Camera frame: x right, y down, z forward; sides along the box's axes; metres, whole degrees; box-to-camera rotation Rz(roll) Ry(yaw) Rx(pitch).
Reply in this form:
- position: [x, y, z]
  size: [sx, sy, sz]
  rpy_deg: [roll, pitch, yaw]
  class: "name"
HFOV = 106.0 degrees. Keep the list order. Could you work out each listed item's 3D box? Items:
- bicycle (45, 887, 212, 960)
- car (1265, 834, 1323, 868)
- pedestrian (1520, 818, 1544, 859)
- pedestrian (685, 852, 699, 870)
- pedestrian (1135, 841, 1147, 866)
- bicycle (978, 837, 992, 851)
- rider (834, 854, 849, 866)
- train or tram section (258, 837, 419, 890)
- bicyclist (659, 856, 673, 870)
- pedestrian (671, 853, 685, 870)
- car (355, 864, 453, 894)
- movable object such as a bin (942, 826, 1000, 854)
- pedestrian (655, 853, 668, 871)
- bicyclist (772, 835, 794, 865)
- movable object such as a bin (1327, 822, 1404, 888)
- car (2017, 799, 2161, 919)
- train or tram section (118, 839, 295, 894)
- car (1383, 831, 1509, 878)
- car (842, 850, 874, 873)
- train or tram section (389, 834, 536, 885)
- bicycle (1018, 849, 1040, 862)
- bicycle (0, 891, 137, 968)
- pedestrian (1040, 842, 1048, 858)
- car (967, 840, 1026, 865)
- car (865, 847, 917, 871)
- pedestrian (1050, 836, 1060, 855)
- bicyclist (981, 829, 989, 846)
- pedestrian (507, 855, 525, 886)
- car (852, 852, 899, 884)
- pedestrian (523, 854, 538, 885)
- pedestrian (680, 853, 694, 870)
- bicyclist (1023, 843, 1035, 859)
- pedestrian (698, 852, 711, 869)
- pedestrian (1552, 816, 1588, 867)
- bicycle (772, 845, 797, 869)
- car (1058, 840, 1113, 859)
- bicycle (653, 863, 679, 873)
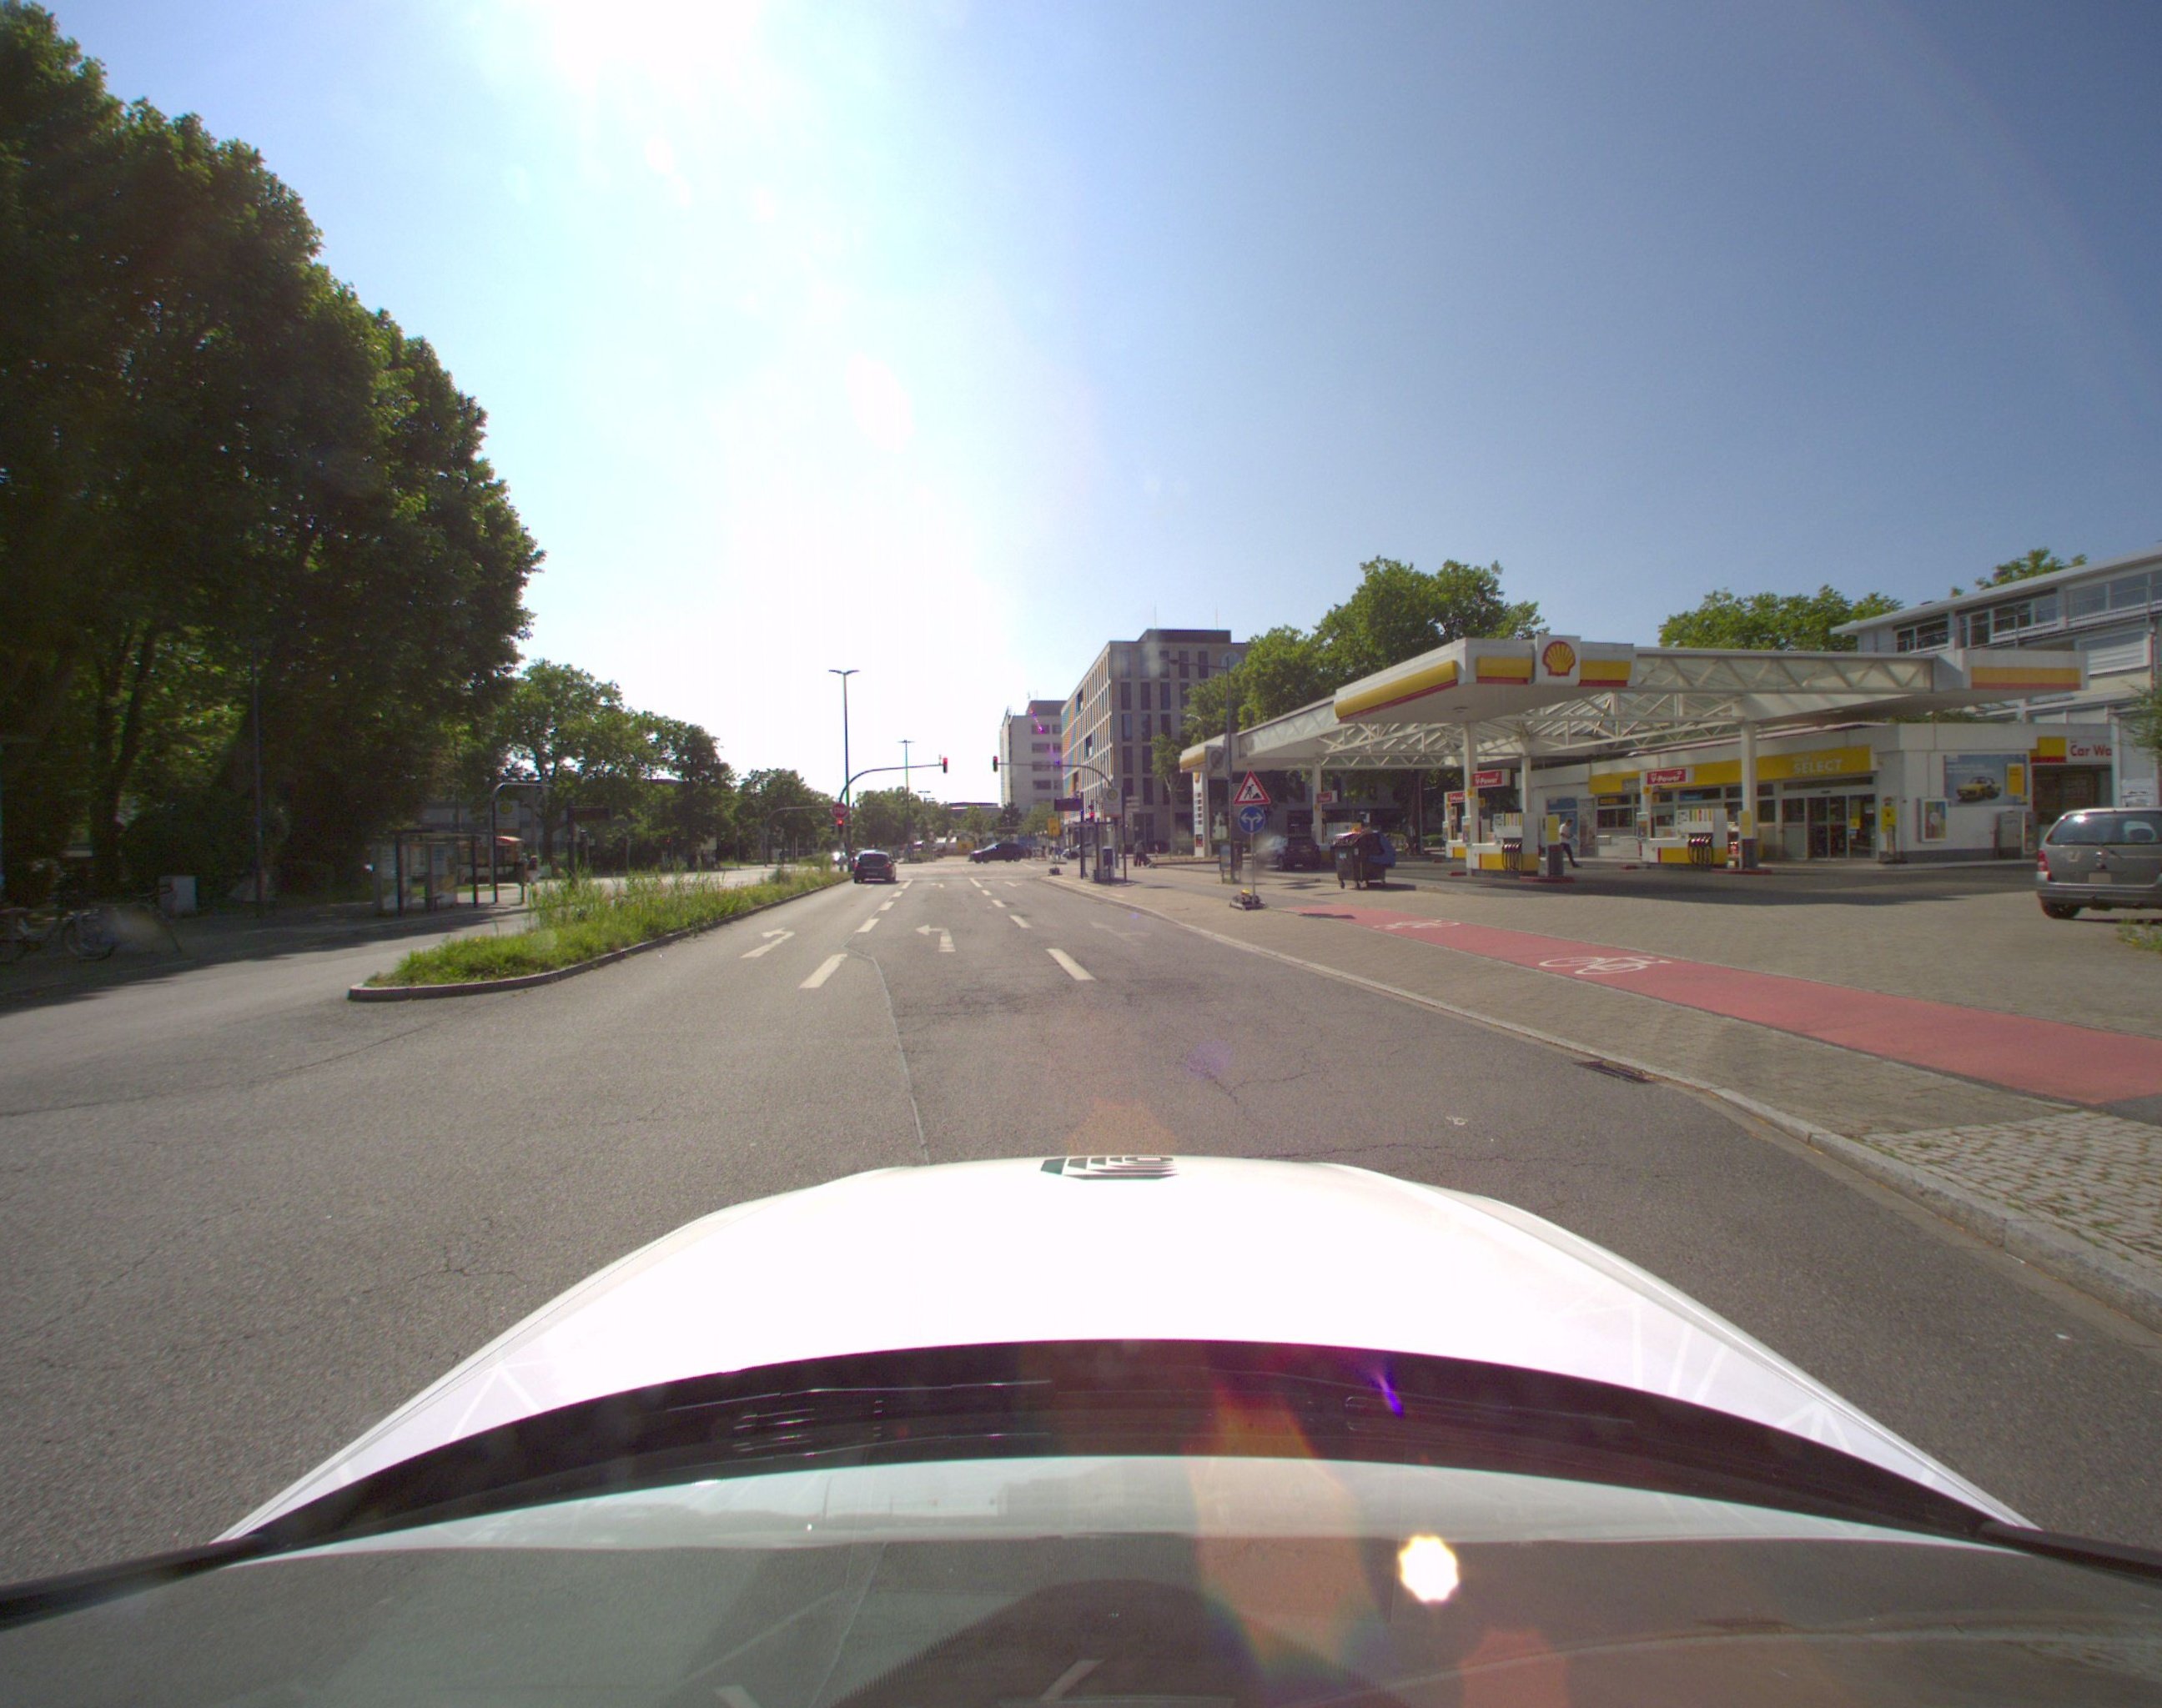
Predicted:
- position: [-16.531, 1.187, 14.171]
  size: [1.845, 1.122, 0.691]
  rpy_deg: [-1, 0, -9]
  class: "bicycle"
- position: [9.345, -0.149, 35.952]
  size: [1.644, 1.398, 3.642]
  rpy_deg: [-2, 0, 1]
  class: "car"
- position: [20.213, -0.695, 36.481]
  size: [0.671, 1.821, 0.630]
  rpy_deg: [-1, 0, -4]
  class: "pedestrian"
- position: [-36.366, 0.666, 76.154]
  size: [0.650, 1.611, 0.945]
  rpy_deg: [-1, 0, 13]
  class: "pedestrian"
- position: [3.691, -0.047, 50.413]
  size: [0.618, 1.543, 0.460]
  rpy_deg: [-1, 0, -11]
  class: "pedestrian"
- position: [-14.171, -1.471, 120.293]
  size: [2.084, 1.962, 0.826]
  rpy_deg: [-1, 0, -4]
  class: "bicycle"
- position: [-26.783, 0.662, 91.286]
  size: [1.392, 1.195, 2.686]
  rpy_deg: [-1, 1, -12]
  class: "rider"
- position: [-51.080, 0.574, 56.248]
  size: [7.560, 3.331, 3.107]
  rpy_deg: [-2, 0, -12]
  class: "train or tram section"
- position: [-38.043, 0.801, 74.639]
  size: [1.055, 1.274, 0.489]
  rpy_deg: [-2, 0, -18]
  class: "bicyclist"
- position: [-37.937, 0.705, 76.635]
  size: [0.650, 1.611, 0.945]
  rpy_deg: [-1, 0, 13]
  class: "pedestrian"
- position: [-34.957, 1.263, 42.130]
  size: [3.502, 1.377, 1.631]
  rpy_deg: [-2, 1, -13]
  class: "car"
- position: [-18.928, -2.419, 140.631]
  size: [9.671, 4.549, 3.155]
  rpy_deg: [-1, 1, -9]
  class: "movable object such as a bin"
- position: [-39.127, 0.744, 75.962]
  size: [0.650, 1.611, 0.945]
  rpy_deg: [-1, 0, 13]
  class: "pedestrian"
- position: [-30.159, -0.426, 82.522]
  size: [1.600, 2.931, 2.345]
  rpy_deg: [-2, 0, -10]
  class: "bicyclist"
- position: [7.489, 0.025, 21.514]
  size: [1.309, 1.592, 1.390]
  rpy_deg: [-4, 1, -13]
  class: "movable object such as a bin"
- position: [16.021, 0.015, 11.771]
  size: [3.822, 1.596, 1.584]
  rpy_deg: [-1, 0, -11]
  class: "car"
- position: [-58.475, 0.758, 54.670]
  size: [7.560, 3.331, 3.107]
  rpy_deg: [-2, 0, -12]
  class: "train or tram section"
- position: [13.594, 0.002, 30.433]
  size: [3.990, 1.582, 1.836]
  rpy_deg: [-2, 1, -12]
  class: "car"
- position: [-16.369, 0.510, 59.885]
  size: [1.891, 1.610, 4.501]
  rpy_deg: [-2, 1, -11]
  class: "car"
- position: [-43.687, 0.355, 57.816]
  size: [7.560, 3.331, 3.107]
  rpy_deg: [-2, 0, -12]
  class: "train or tram section"
- position: [-5.545, 0.148, 87.095]
  size: [2.223, 1.285, 0.524]
  rpy_deg: [-1, 0, -2]
  class: "bicycle"
- position: [-16.466, 1.194, 12.954]
  size: [1.845, 1.106, 0.691]
  rpy_deg: [-1, 0, -9]
  class: "bicycle"
- position: [-4.000, -0.454, 88.113]
  size: [0.530, 1.771, 0.714]
  rpy_deg: [-1, 0, -23]
  class: "pedestrian"
- position: [-7.519, -0.146, 72.519]
  size: [4.878, 2.013, 1.984]
  rpy_deg: [-2, 1, -25]
  class: "car"
- position: [-14.288, 0.381, 61.477]
  size: [1.980, 1.638, 4.411]
  rpy_deg: [-2, 1, 13]
  class: "car"
- position: [-2.751, -0.913, 86.296]
  size: [0.771, 2.013, 0.781]
  rpy_deg: [-1, 1, 19]
  class: "pedestrian"
- position: [-14.171, -2.431, 120.282]
  size: [1.067, 2.574, 0.826]
  rpy_deg: [-1, 0, -4]
  class: "bicyclist"
- position: [-31.644, 0.909, 45.600]
  size: [0.662, 1.726, 0.746]
  rpy_deg: [-2, 0, -28]
  class: "pedestrian"
- position: [-9.690, 0.619, 38.578]
  size: [1.996, 1.398, 3.982]
  rpy_deg: [-2, 1, -13]
  class: "car"
- position: [-31.053, 0.875, 45.937]
  size: [0.570, 1.726, 0.727]
  rpy_deg: [-2, 0, -28]
  class: "pedestrian"
- position: [-37.135, 0.683, 76.750]
  size: [0.650, 1.611, 0.945]
  rpy_deg: [-1, 0, 13]
  class: "pedestrian"
- position: [-5.529, -0.308, 87.095]
  size: [1.236, 1.673, 0.524]
  rpy_deg: [-1, 0, -2]
  class: "bicyclist"
- position: [-35.814, 0.643, 77.491]
  size: [0.661, 1.611, 0.945]
  rpy_deg: [-1, 0, 13]
  class: "pedestrian"
- position: [17.800, -0.461, 29.669]
  size: [0.748, 1.837, 0.850]
  rpy_deg: [-1, 0, -32]
  class: "pedestrian"
- position: [-30.289, 0.292, 83.309]
  size: [1.600, 2.269, 3.986]
  rpy_deg: [-2, 0, -10]
  class: "bicycle"
- position: [0.371, -0.391, 76.277]
  size: [4.857, 1.636, 1.992]
  rpy_deg: [-1, 1, -12]
  class: "car"
- position: [-38.017, 1.297, 74.635]
  size: [2.005, 0.883, 0.524]
  rpy_deg: [-2, 0, -18]
  class: "bicycle"
